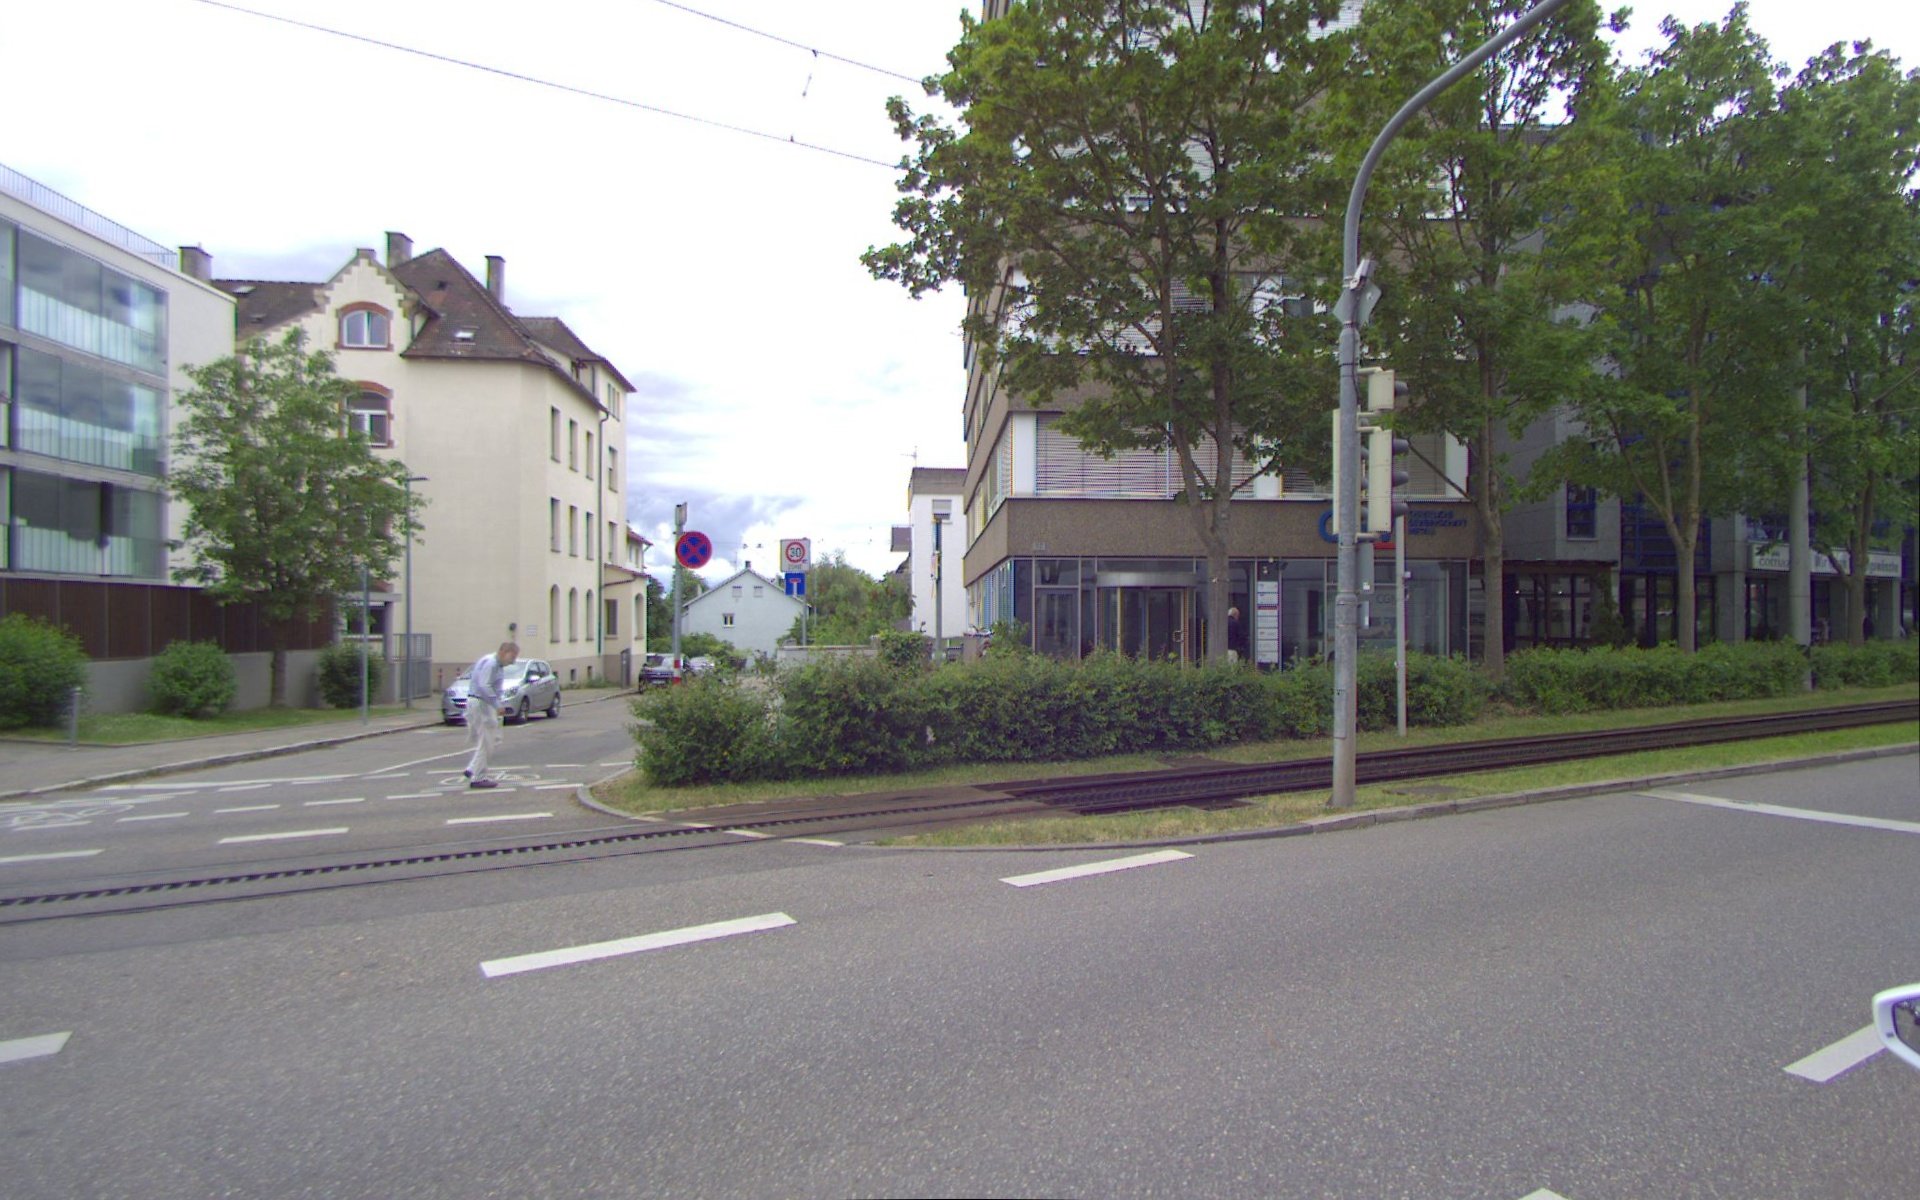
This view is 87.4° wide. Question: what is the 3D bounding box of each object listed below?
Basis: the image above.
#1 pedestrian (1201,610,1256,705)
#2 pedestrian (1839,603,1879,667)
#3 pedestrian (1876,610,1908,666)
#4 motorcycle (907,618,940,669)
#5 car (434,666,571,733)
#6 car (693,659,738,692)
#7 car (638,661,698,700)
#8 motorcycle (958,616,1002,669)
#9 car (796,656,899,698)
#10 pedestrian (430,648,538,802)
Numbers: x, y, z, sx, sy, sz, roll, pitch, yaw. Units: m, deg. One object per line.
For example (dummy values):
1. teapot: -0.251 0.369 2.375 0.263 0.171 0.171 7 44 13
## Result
1. pedestrian: 4.975 1.058 18.621 0.674 1.728 0.685 1 -2 -26
2. pedestrian: 27.246 1.061 30.434 0.614 1.933 0.672 1 -2 -28
3. pedestrian: 34.564 1.417 37.256 0.564 2.040 0.678 0 -2 -29
4. motorcycle: -0.908 1.058 24.733 0.558 1.214 1.882 0 -2 -10
5. car: -10.496 2.240 23.361 1.611 1.377 3.999 0 -3 -5
6. car: -12.927 3.975 53.317 1.865 1.550 3.996 0 -1 -7
7. car: -12.254 3.357 42.404 1.644 1.521 3.999 0 -3 -5
8. motorcycle: 0.470 1.018 24.231 0.559 1.214 1.879 0 -2 -15
9. car: -4.426 3.000 39.515 3.926 1.594 1.853 0 -3 -8
10. pedestrian: -5.135 1.296 10.824 0.984 1.546 0.844 1 -3 -30
